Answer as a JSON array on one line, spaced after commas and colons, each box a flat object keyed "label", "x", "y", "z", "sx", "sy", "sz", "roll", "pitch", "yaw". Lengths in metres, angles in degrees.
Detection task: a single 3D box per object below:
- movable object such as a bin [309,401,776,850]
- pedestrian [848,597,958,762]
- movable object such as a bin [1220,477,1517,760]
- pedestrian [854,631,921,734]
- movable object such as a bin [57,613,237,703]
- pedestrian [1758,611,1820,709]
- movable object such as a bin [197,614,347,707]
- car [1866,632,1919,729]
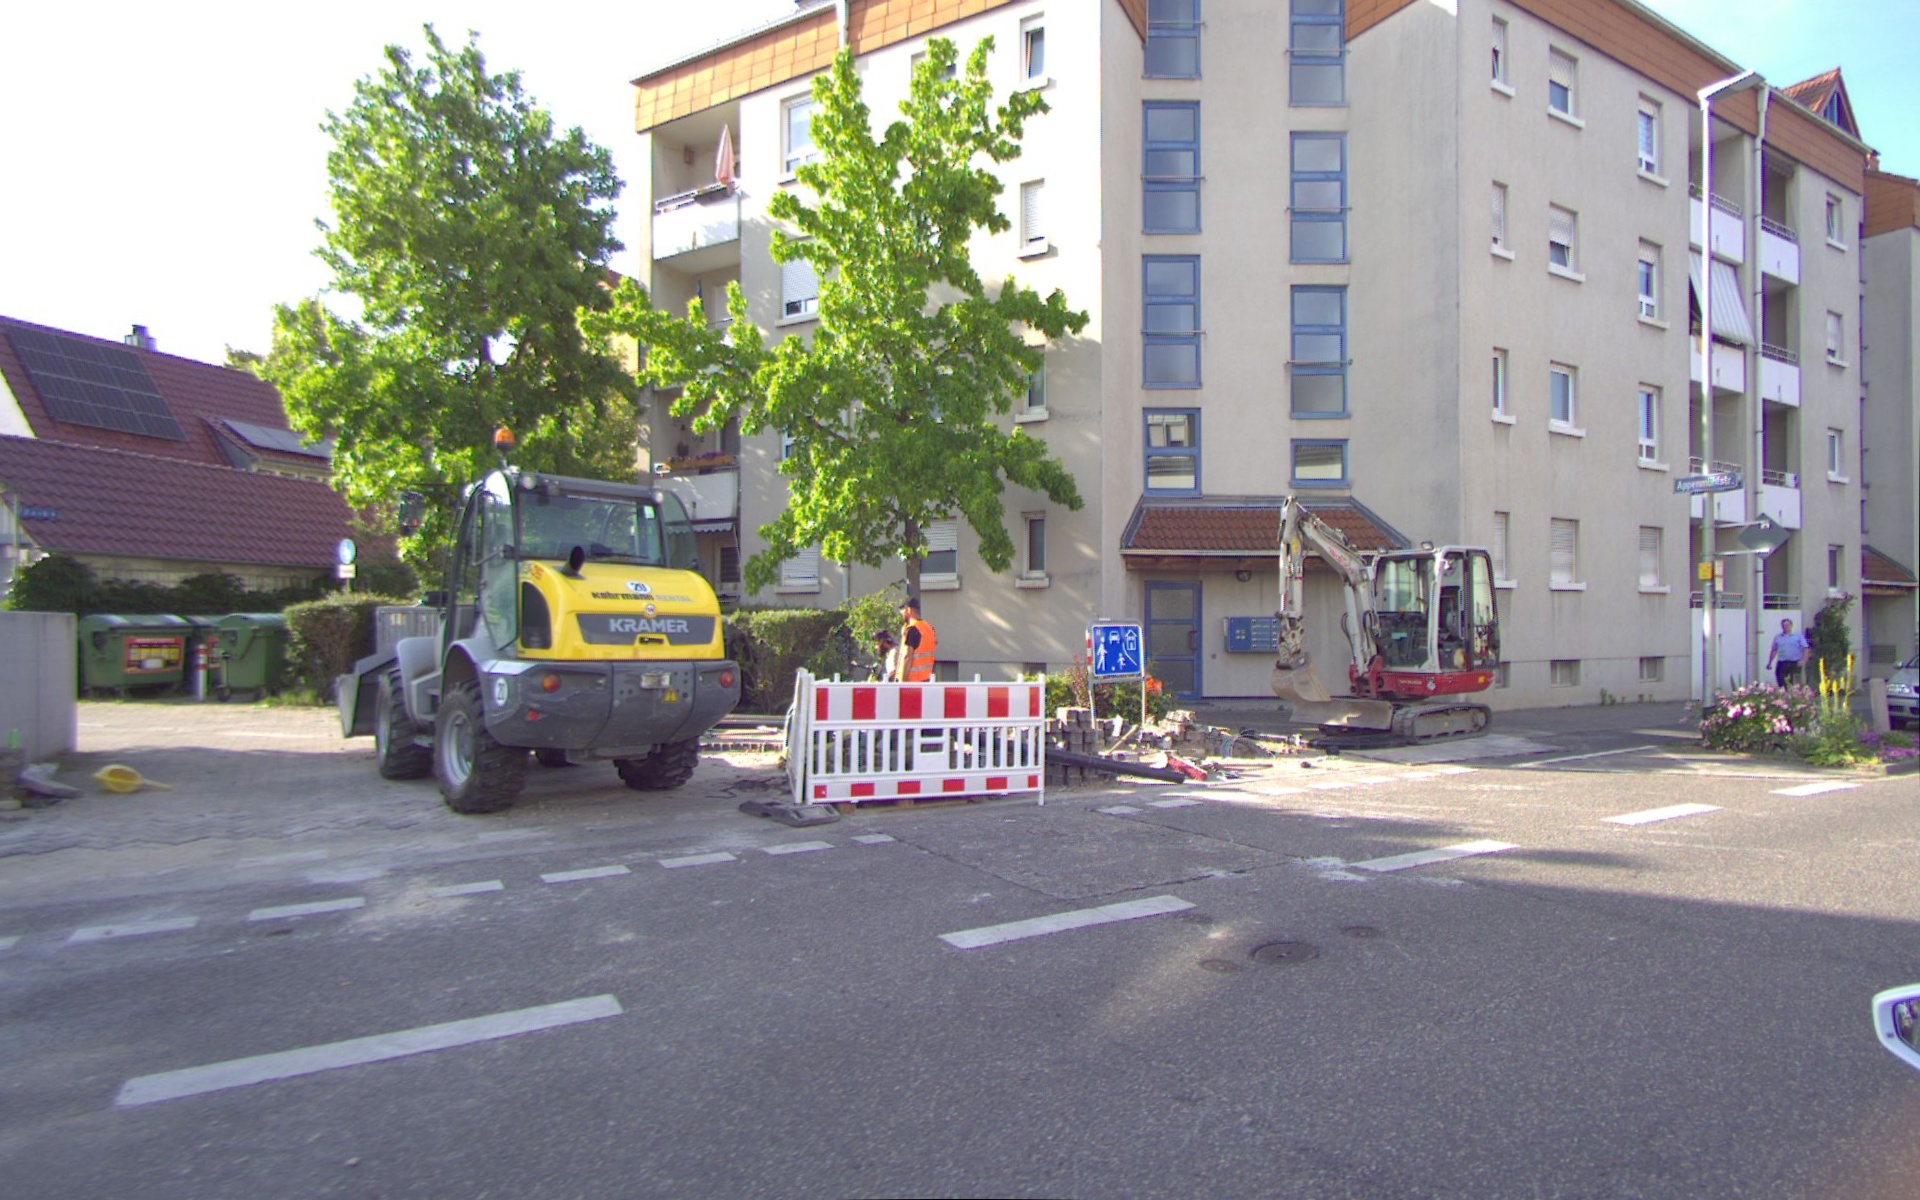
[{"label": "movable object such as a bin", "x": -4.125, "y": 0.166, "z": 9.268, "sx": 2.098, "sy": 2.939, "sz": 5.441, "roll": 0, "pitch": 0, "yaw": -45}, {"label": "pedestrian", "x": -0.612, "y": 0.816, "z": 10.773, "sx": 0.982, "sy": 1.686, "sz": 0.665, "roll": 1, "pitch": 0, "yaw": -30}, {"label": "movable object such as a bin", "x": 5.352, "y": 0.235, "z": 13.043, "sx": 3.857, "sy": 3.180, "sz": 1.639, "roll": 0, "pitch": -1, "yaw": -33}, {"label": "pedestrian", "x": -0.826, "y": 0.915, "z": 11.382, "sx": 0.590, "sy": 1.114, "sz": 0.497, "roll": 1, "pitch": 0, "yaw": -30}, {"label": "movable object such as a bin", "x": -14.276, "y": 0.984, "z": 17.730, "sx": 1.387, "sy": 1.438, "sz": 2.001, "roll": 2, "pitch": -1, "yaw": 16}, {"label": "pedestrian", "x": 16.059, "y": 1.132, "z": 19.461, "sx": 0.736, "sy": 1.843, "sz": 0.715, "roll": 0, "pitch": 0, "yaw": -30}, {"label": "movable object such as a bin", "x": -11.730, "y": 0.998, "z": 17.191, "sx": 1.294, "sy": 1.466, "sz": 1.626, "roll": 2, "pitch": -1, "yaw": 16}, {"label": "car", "x": 15.852, "y": 1.233, "z": 15.693, "sx": 3.631, "sy": 1.414, "sz": 1.631, "roll": 1, "pitch": -1, "yaw": -33}]
